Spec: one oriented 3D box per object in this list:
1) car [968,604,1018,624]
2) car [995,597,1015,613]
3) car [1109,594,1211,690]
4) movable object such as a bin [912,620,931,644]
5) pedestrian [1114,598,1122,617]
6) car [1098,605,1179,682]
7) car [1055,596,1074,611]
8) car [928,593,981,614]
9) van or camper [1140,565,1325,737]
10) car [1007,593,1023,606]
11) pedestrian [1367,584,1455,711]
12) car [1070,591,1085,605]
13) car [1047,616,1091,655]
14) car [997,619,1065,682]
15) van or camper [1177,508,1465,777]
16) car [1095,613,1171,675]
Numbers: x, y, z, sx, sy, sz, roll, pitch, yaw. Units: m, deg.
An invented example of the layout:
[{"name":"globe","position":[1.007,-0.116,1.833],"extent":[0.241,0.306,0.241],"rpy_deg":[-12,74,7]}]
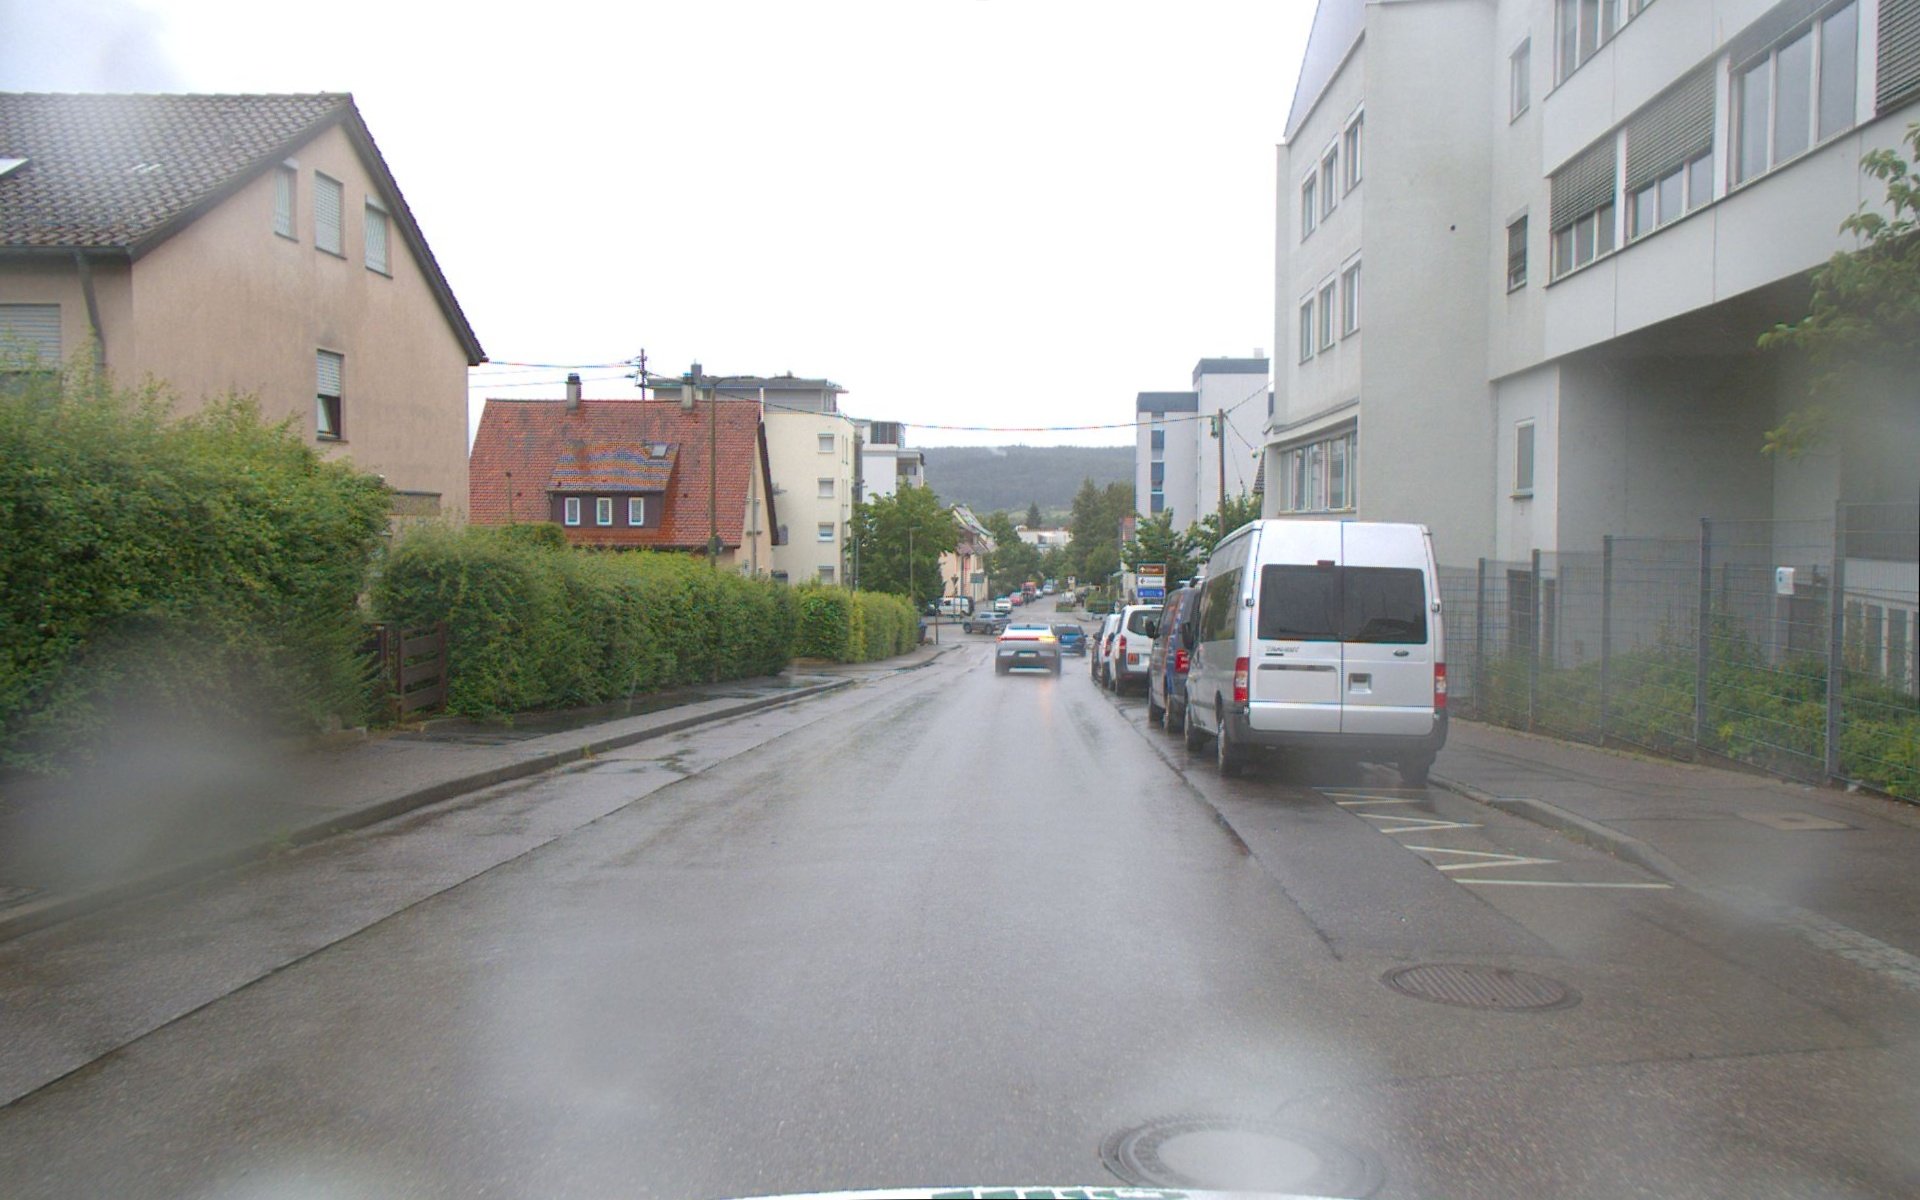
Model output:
[{"name":"car","position":[2.595,1.110,131.481],"extent":[1.873,1.552,3.943],"rpy_deg":[-1,1,-40]},{"name":"car","position":[4.854,0.523,179.383],"extent":[1.952,1.654,4.194],"rpy_deg":[-1,1,4]},{"name":"car","position":[4.370,0.904,36.790],"extent":[1.952,1.969,4.978],"rpy_deg":[0,-1,3]},{"name":"movable object such as a bin","position":[-2.277,1.924,99.181],"extent":[1.049,1.371,1.319],"rpy_deg":[1,-1,1]},{"name":"pedestrian","position":[14.412,0.706,150.699],"extent":[0.634,1.676,0.526],"rpy_deg":[2,0,-3]},{"name":"car","position":[4.528,1.088,42.471],"extent":[1.839,1.866,4.490],"rpy_deg":[0,-1,3]},{"name":"car","position":[12.161,0.361,192.794],"extent":[2.101,1.617,4.130],"rpy_deg":[-1,1,4]},{"name":"car","position":[-0.528,0.334,159.997],"extent":[4.789,1.867,1.975],"rpy_deg":[-2,1,-35]},{"name":"van or camper","position":[3.722,0.662,23.484],"extent":[1.952,2.150,5.204],"rpy_deg":[-1,0,2]},{"name":"car","position":[7.207,-0.060,215.790],"extent":[1.861,1.586,4.194],"rpy_deg":[-1,1,4]},{"name":"pedestrian","position":[6.606,0.676,24.272],"extent":[1.002,1.789,1.031],"rpy_deg":[-1,1,1]},{"name":"car","position":[15.187,-0.237,214.345],"extent":[1.861,1.775,4.194],"rpy_deg":[-1,1,4]},{"name":"car","position":[5.266,1.698,80.205],"extent":[1.952,1.713,4.001],"rpy_deg":[-1,1,1]},{"name":"car","position":[2.130,1.510,50.484],"extent":[1.952,1.713,4.001],"rpy_deg":[-1,1,1]},{"name":"van or camper","position":[3.453,0.385,16.930],"extent":[1.952,2.282,5.442],"rpy_deg":[-1,0,2]},{"name":"car","position":[4.942,1.238,47.781],"extent":[1.952,1.673,4.960],"rpy_deg":[0,-1,3]}]
